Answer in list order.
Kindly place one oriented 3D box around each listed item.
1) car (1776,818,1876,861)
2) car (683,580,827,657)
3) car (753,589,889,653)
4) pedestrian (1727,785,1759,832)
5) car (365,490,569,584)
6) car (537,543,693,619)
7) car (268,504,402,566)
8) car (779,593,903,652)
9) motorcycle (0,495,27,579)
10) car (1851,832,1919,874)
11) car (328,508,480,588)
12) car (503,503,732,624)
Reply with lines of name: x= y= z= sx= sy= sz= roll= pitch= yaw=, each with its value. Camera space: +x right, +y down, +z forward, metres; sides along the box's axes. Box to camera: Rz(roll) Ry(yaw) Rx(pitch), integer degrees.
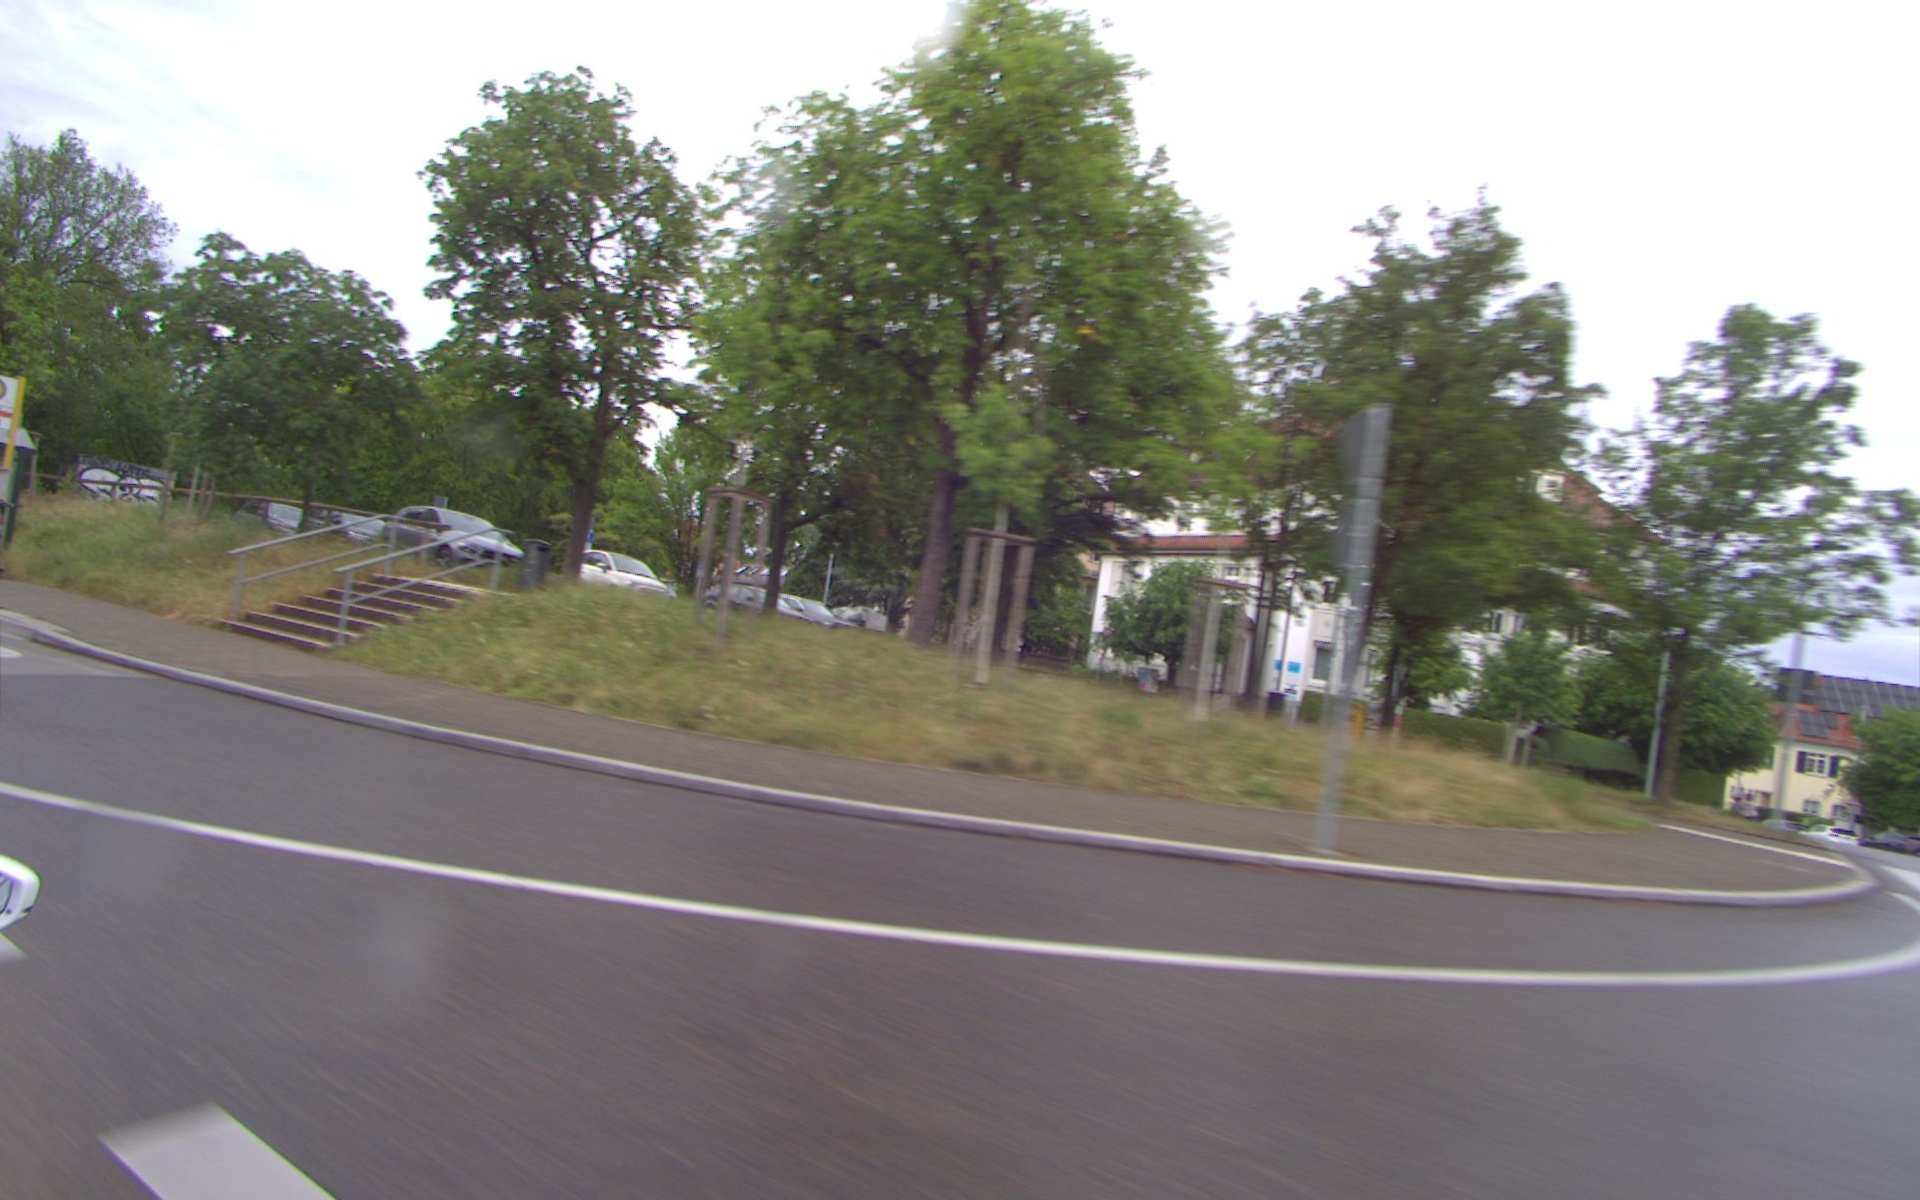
car: x=48.931 y=13.509 z=56.976 sx=1.962 sy=1.494 sz=5.478 roll=8 pitch=-5 yaw=15
car: x=-6.405 y=0.559 z=31.356 sx=3.937 sy=1.678 sz=2.000 roll=7 pitch=-6 yaw=35
car: x=-4.572 y=0.676 z=32.861 sx=4.004 sy=1.494 sz=1.891 roll=5 pitch=-6 yaw=34
pedestrian: x=33.867 y=9.015 z=43.508 sx=0.807 sy=1.855 sz=0.696 roll=7 pitch=-5 yaw=25
car: x=-11.095 y=-1.426 z=22.599 sx=4.213 sy=1.494 sz=2.001 roll=6 pitch=-6 yaw=31
car: x=-9.446 y=-0.532 z=27.439 sx=4.006 sy=1.494 sz=1.890 roll=5 pitch=-6 yaw=36
car: x=-20.465 y=-2.148 z=32.892 sx=4.708 sy=1.494 sz=1.890 roll=5 pitch=-6 yaw=36
car: x=-4.300 y=0.806 z=36.109 sx=4.004 sy=1.494 sz=1.891 roll=5 pitch=-6 yaw=34
motorcycle: x=-15.985 y=-1.084 z=16.656 sx=1.518 sy=1.303 sz=0.588 roll=6 pitch=-2 yaw=45
car: x=46.478 y=12.582 z=49.676 sx=1.962 sy=1.494 sz=4.012 roll=8 pitch=-5 yaw=15
car: x=-16.560 y=-1.570 z=29.905 sx=4.401 sy=1.678 sz=2.000 roll=7 pitch=-6 yaw=35
car: x=-6.804 y=-0.736 z=19.962 sx=3.933 sy=1.678 sz=2.002 roll=7 pitch=-5 yaw=31
